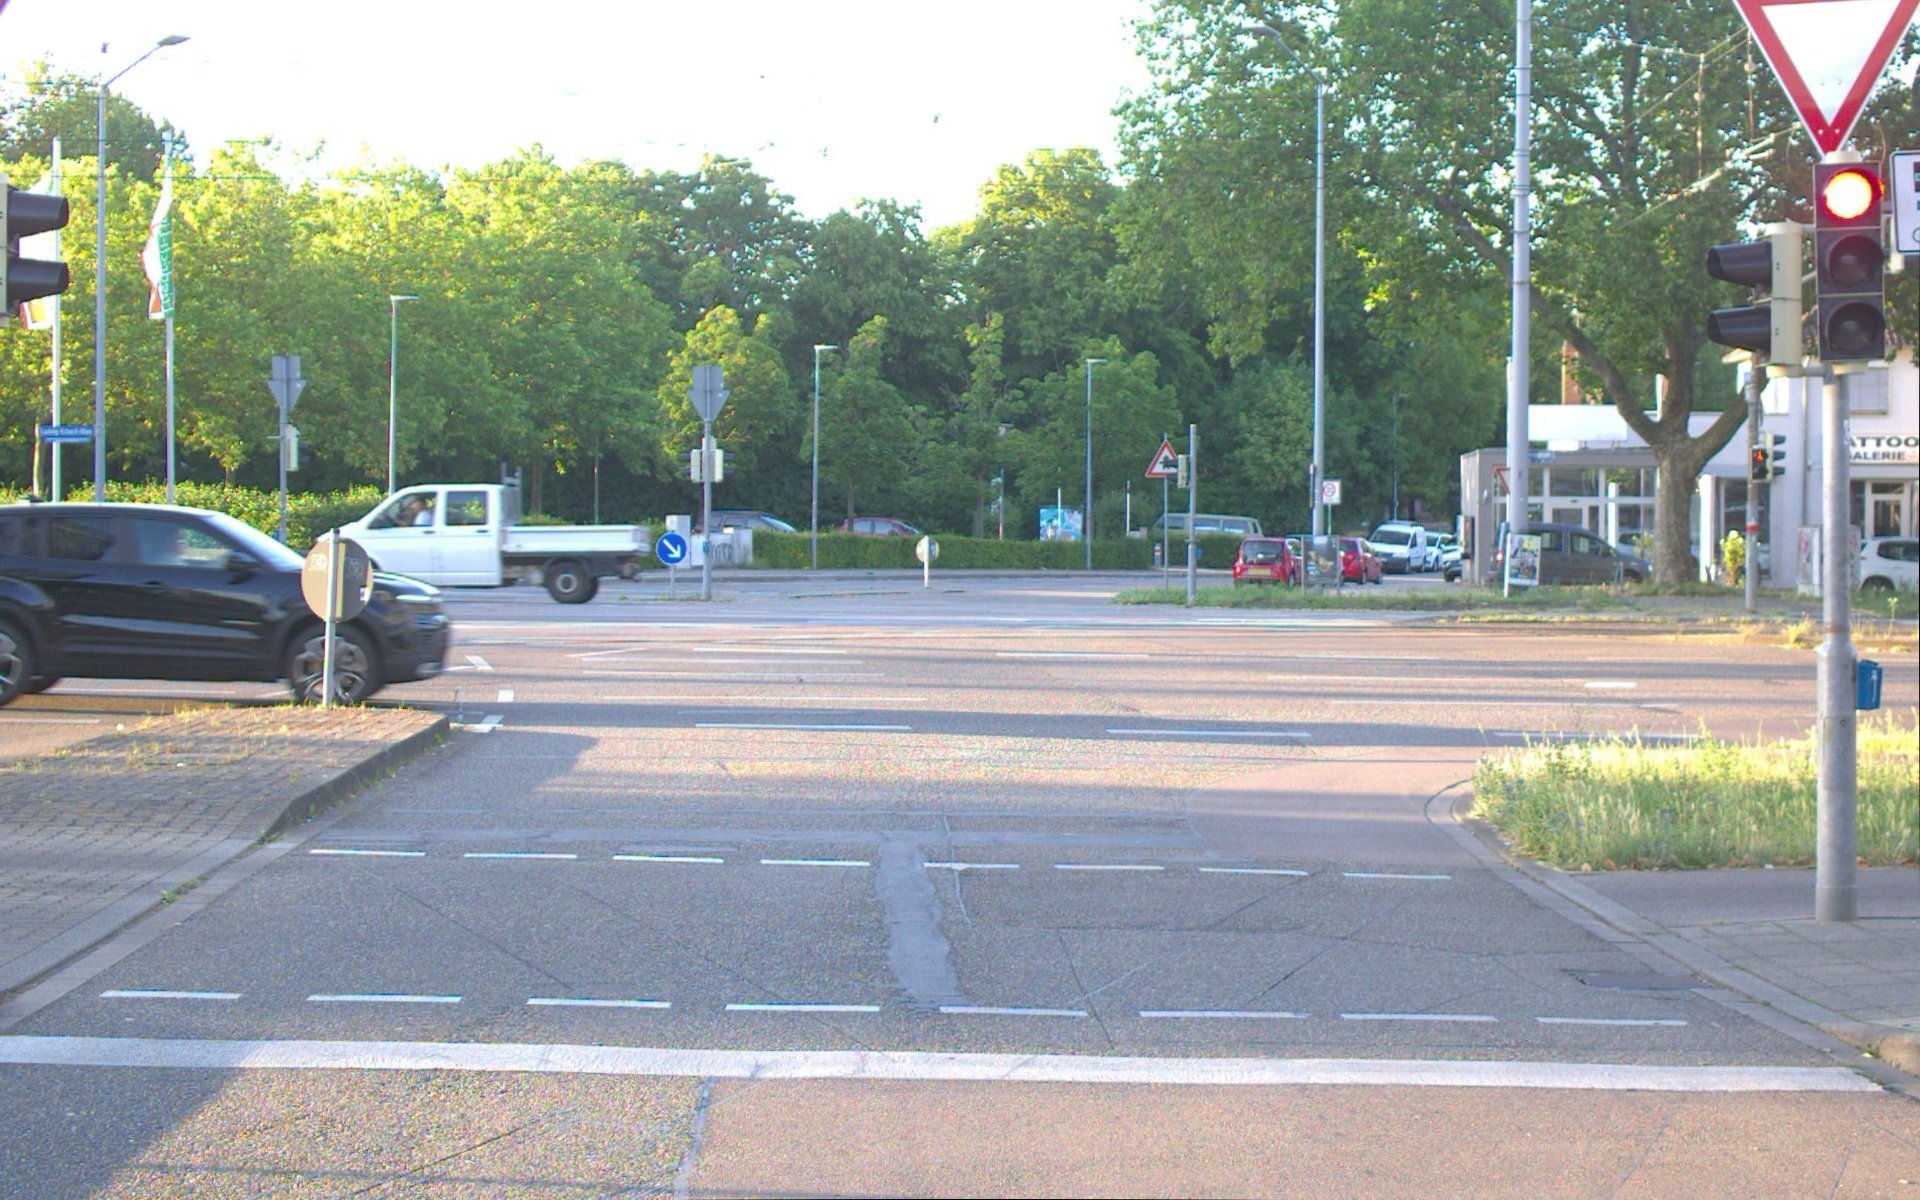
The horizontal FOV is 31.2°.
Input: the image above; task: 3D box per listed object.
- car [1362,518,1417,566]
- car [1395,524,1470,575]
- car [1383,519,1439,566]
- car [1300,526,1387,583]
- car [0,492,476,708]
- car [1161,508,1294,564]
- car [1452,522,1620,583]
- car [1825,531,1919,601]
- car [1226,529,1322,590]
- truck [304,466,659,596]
[{"bbox_3d":[16.419,-2.202,131.186,1.864,1.788,3.998,1,0,10],"label":"car"},{"bbox_3d":[15.915,-1.688,115.595,1.995,1.656,3.997,1,0,15],"label":"car"},{"bbox_3d":[17.874,-2.265,136.080,1.864,1.788,3.998,1,0,12],"label":"car"},{"bbox_3d":[11.550,-1.348,103.370,1.995,1.656,3.997,1,0,15],"label":"car"},{"bbox_3d":[-6.021,-0.025,26.414,4.433,1.568,2.000,0,1,-4],"label":"car"},{"bbox_3d":[9.775,-2.331,125.871,4.774,1.999,2.000,0,0,2],"label":"car"},{"bbox_3d":[14.906,-1.225,89.165,4.220,1.547,1.999,1,0,7],"label":"car"},{"bbox_3d":[20.201,-0.709,72.351,3.741,1.435,1.663,1,0,9],"label":"car"},{"bbox_3d":[8.770,-1.108,95.684,1.995,1.656,3.997,1,0,15],"label":"car"},{"bbox_3d":[-7.851,-1.149,56.786,5.556,2.047,2.068,1,1,0],"label":"truck"}]
